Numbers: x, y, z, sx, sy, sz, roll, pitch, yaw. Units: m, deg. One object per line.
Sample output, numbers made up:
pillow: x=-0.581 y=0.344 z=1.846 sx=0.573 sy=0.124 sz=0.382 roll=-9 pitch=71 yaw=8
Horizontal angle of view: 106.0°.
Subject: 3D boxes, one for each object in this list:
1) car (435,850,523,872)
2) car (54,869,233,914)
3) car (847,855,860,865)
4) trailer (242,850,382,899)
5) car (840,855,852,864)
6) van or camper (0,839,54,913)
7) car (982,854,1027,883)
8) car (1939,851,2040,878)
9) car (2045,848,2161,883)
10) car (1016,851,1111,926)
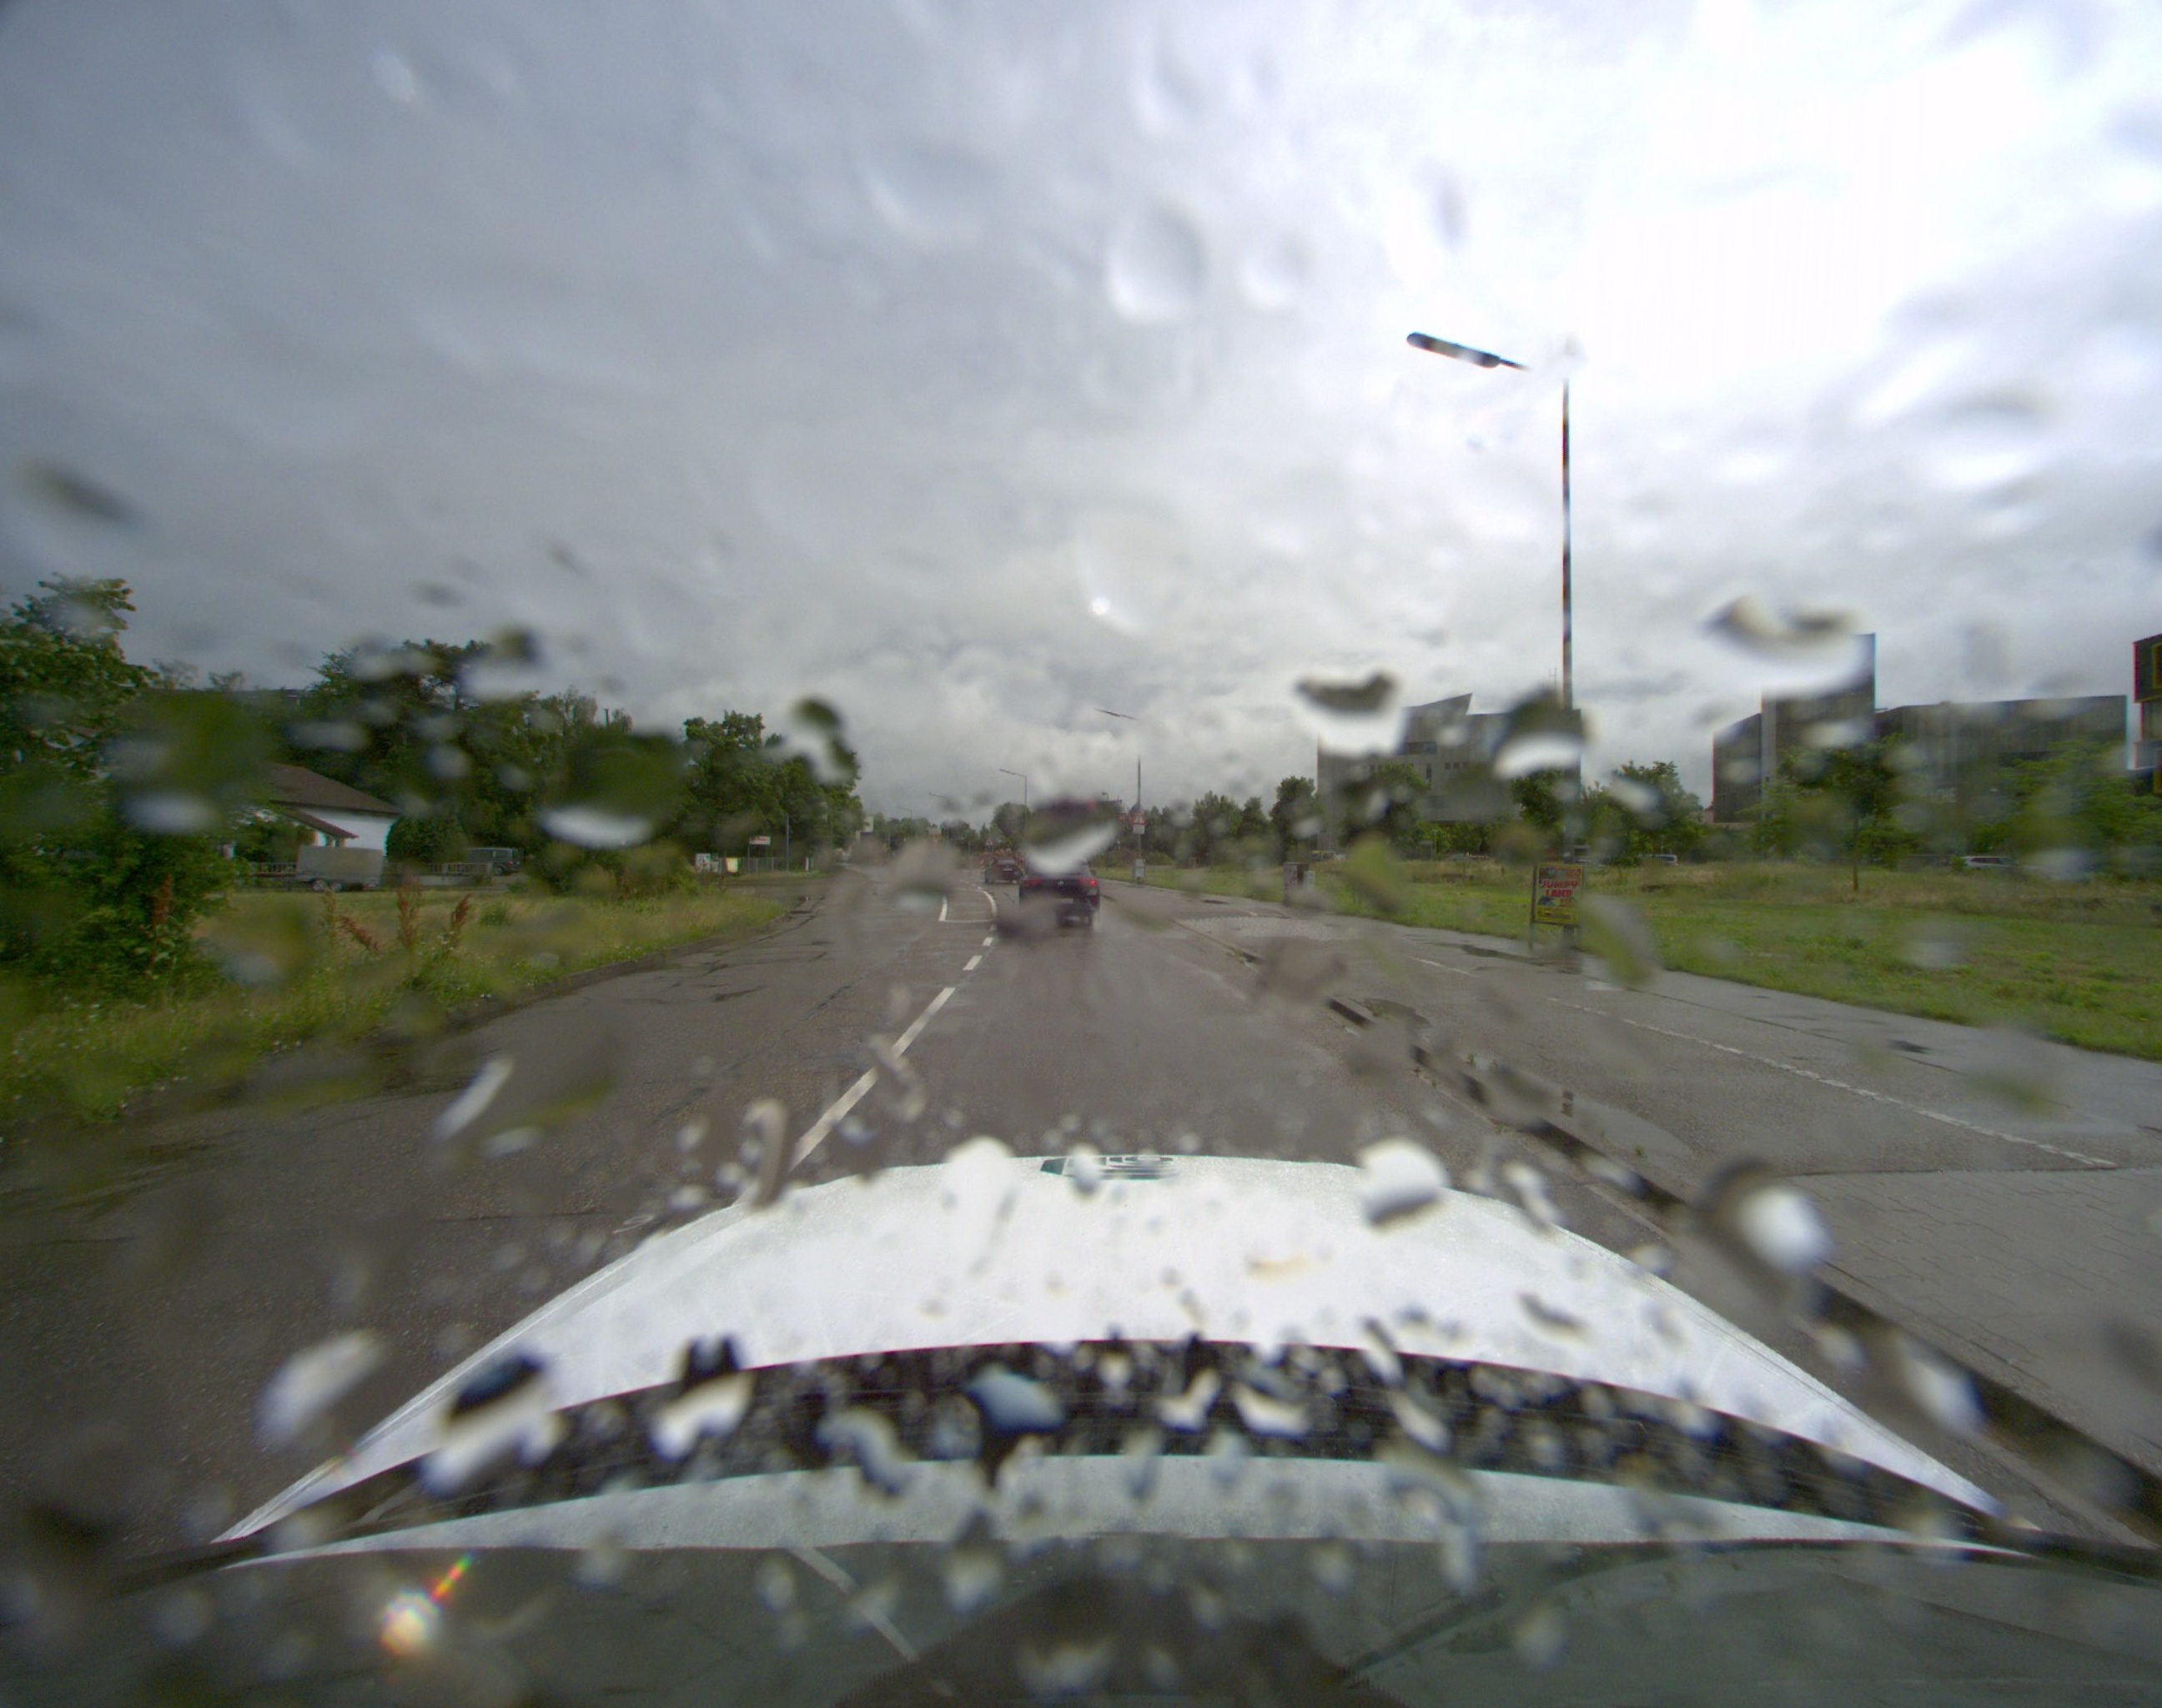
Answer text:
car: x=-41.995 y=0.469 z=56.952 sx=4.541 sy=1.418 sz=1.988 roll=0 pitch=0 yaw=-18
car: x=-39.229 y=1.525 z=34.235 sx=4.516 sy=1.775 sz=1.988 roll=0 pitch=0 yaw=-18
car: x=-38.725 y=1.021 z=138.585 sx=1.848 sy=1.641 sz=3.988 roll=0 pitch=0 yaw=-21
trailer: x=-34.459 y=0.921 z=36.640 sx=4.114 sy=2.089 sz=1.832 roll=2 pitch=-1 yaw=-20
car: x=-43.889 y=0.980 z=152.069 sx=2.003 sy=1.702 sz=3.987 roll=0 pitch=0 yaw=-21
van or camper: x=-45.041 y=0.867 z=32.407 sx=4.513 sy=2.946 sz=2.469 roll=0 pitch=0 yaw=-18
car: x=-4.254 y=0.812 z=44.868 sx=1.844 sy=1.442 sz=3.981 roll=-2 pitch=0 yaw=-14
car: x=58.686 y=0.675 z=52.694 sx=3.951 sy=1.721 sz=1.779 roll=0 pitch=0 yaw=25
car: x=54.983 y=0.590 z=43.202 sx=4.501 sy=1.762 sz=2.011 roll=0 pitch=0 yaw=24
car: x=-0.525 y=0.718 z=19.166 sx=1.983 sy=1.520 sz=3.993 roll=-1 pitch=0 yaw=-5
